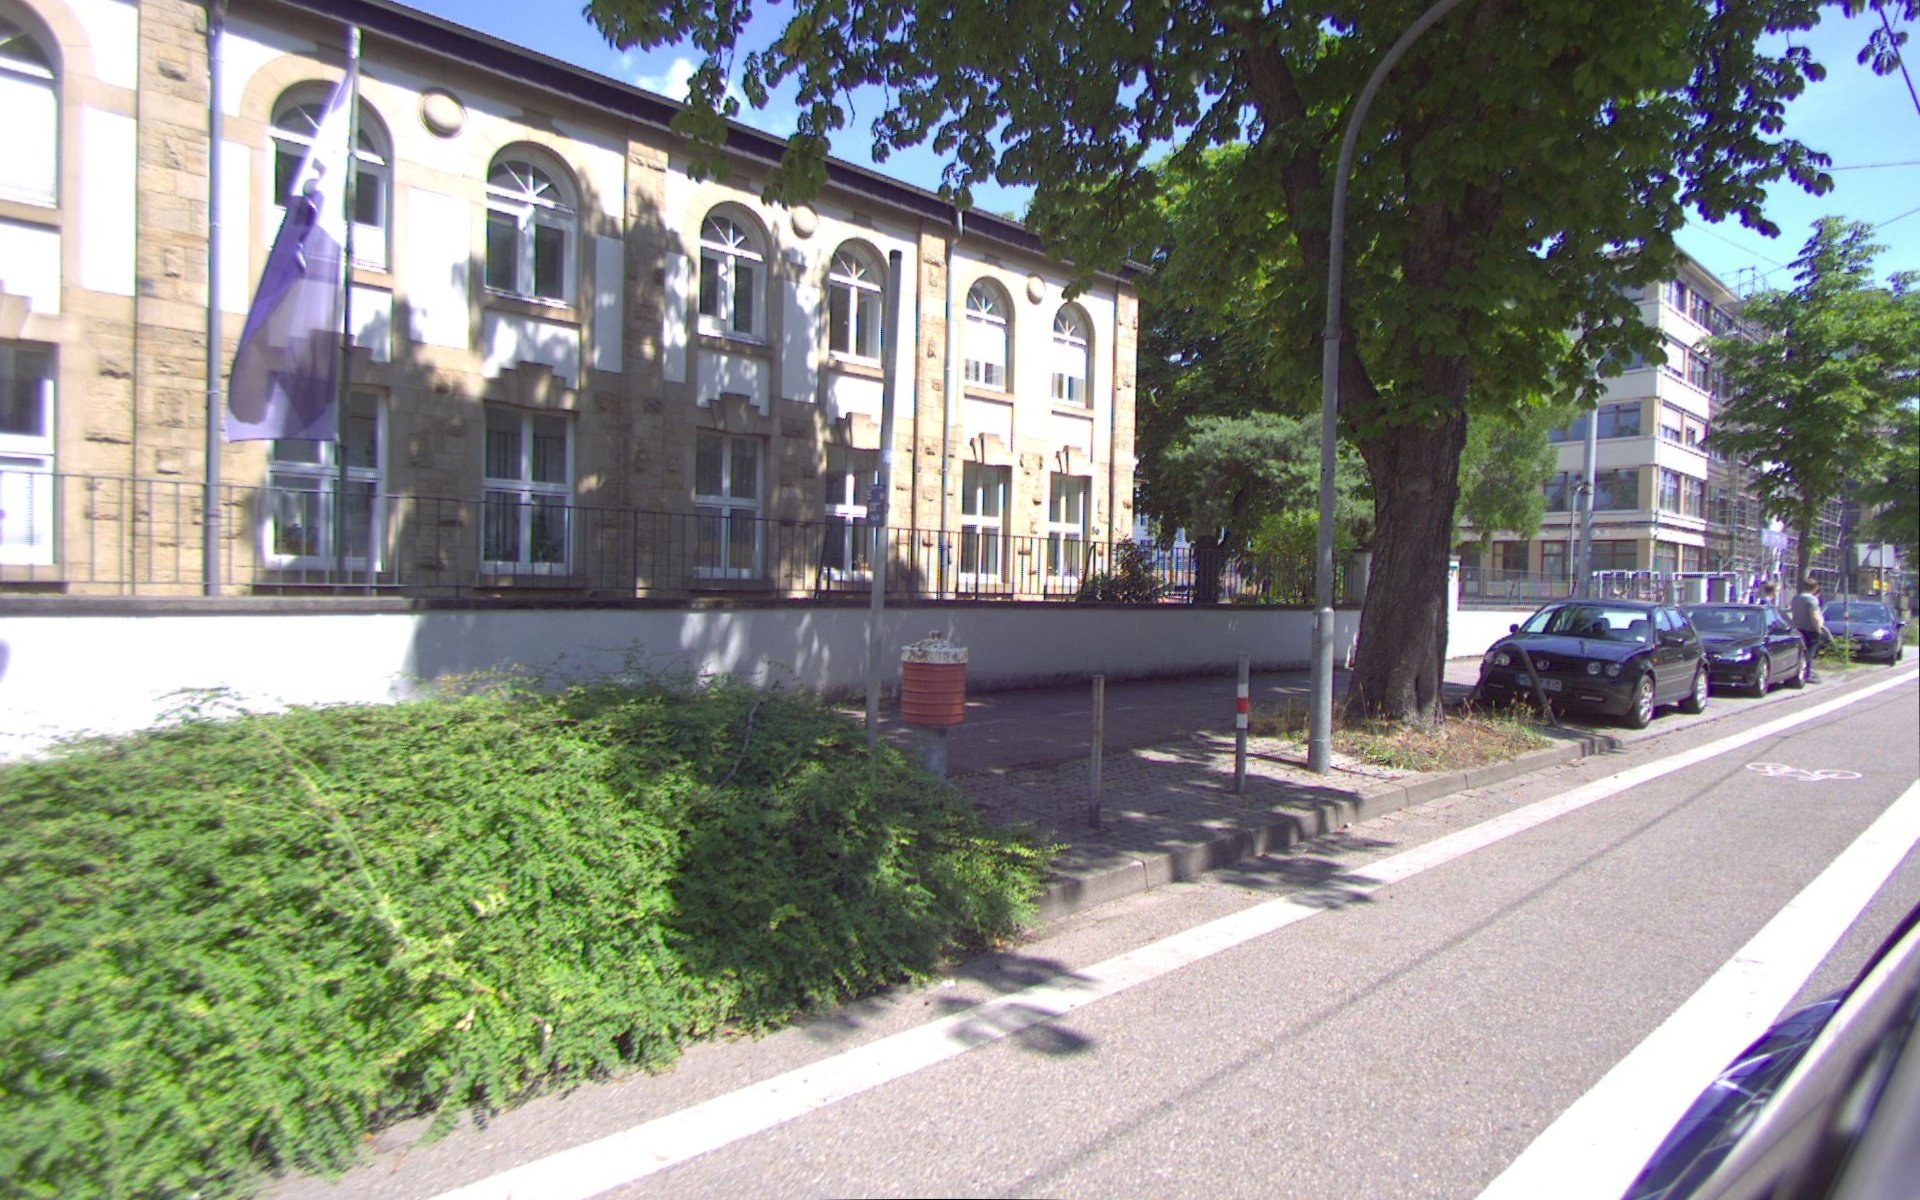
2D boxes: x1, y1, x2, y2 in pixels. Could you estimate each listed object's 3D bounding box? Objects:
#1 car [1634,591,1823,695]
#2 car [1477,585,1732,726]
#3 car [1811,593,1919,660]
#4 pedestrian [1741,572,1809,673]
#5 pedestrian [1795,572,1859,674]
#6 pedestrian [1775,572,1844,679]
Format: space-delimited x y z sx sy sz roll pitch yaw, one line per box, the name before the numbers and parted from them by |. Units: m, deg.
car | 12.684 0.621 16.625 3.930 1.420 1.626 0 4 -41
car | 8.151 0.585 12.688 3.756 1.420 1.626 0 4 -41
car | 22.265 0.597 24.695 3.930 1.420 1.626 0 4 -41
pedestrian | 15.343 0.408 19.052 0.724 1.873 0.648 1 1 -14
pedestrian | 16.359 0.422 19.118 0.732 1.873 0.641 2 1 26
pedestrian | 15.333 0.443 18.270 0.724 1.873 0.648 1 1 -23
